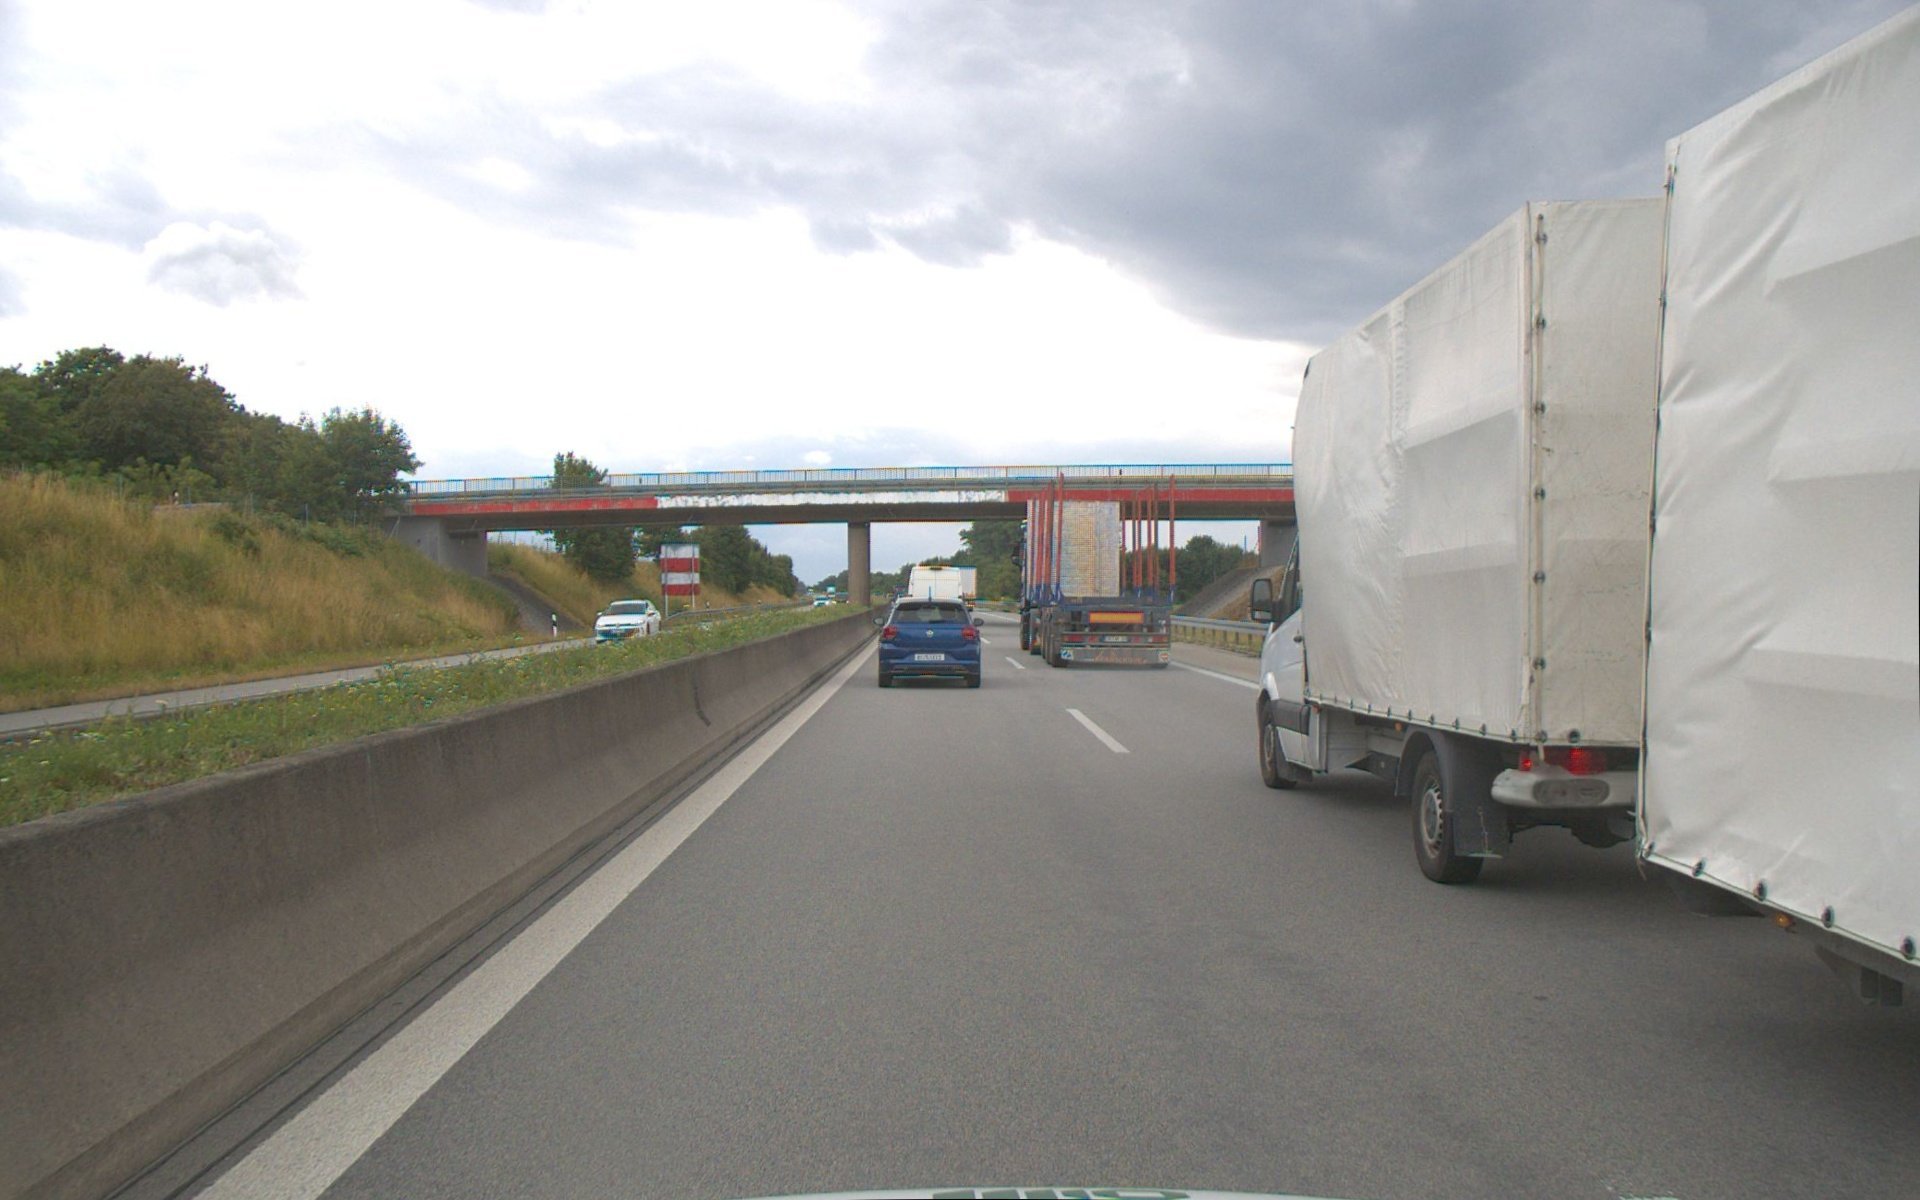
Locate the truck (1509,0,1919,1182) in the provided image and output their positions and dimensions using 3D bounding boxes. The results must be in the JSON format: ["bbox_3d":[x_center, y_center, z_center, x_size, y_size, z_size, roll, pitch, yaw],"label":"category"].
[{"bbox_3d":[3.661,-0.149,3.484,2.366,3.278,7.140,0,0,-2],"label":"truck"}]

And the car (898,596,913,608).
[{"bbox_3d":[-7.474,0.266,225.885,1.953,1.713,3.999,0,0,-1],"label":"car"}]

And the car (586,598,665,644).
[{"bbox_3d":[-11.845,0.719,58.839,1.857,1.487,4.541,-2,0,-1],"label":"car"}]

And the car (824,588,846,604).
[{"bbox_3d":[-12.628,-0.405,166.778,1.857,1.487,4.541,-2,0,-1],"label":"car"}]

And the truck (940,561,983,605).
[{"bbox_3d":[0.068,-1.529,152.862,3.050,3.754,9.312,-2,0,-5],"label":"truck"}]

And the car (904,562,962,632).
[{"bbox_3d":[-1.015,-0.117,62.394,2.087,2.526,5.838,0,0,-1],"label":"car"}]

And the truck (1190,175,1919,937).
[{"bbox_3d":[3.354,-0.198,10.842,2.381,3.300,7.243,0,0,-2],"label":"truck"}]

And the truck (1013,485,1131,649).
[{"bbox_3d":[2.898,-0.866,44.325,2.619,4.116,5.511,0,1,-2],"label":"truck"}]

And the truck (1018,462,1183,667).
[{"bbox_3d":[3.025,-0.791,38.875,2.619,4.116,11.104,0,1,-2],"label":"truck"}]

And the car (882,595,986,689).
[{"bbox_3d":[-0.449,0.656,27.918,1.630,1.431,3.647,1,1,-2],"label":"car"}]

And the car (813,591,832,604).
[{"bbox_3d":[-16.275,-0.287,195.790,1.857,1.487,4.541,-2,0,-1],"label":"car"}]
